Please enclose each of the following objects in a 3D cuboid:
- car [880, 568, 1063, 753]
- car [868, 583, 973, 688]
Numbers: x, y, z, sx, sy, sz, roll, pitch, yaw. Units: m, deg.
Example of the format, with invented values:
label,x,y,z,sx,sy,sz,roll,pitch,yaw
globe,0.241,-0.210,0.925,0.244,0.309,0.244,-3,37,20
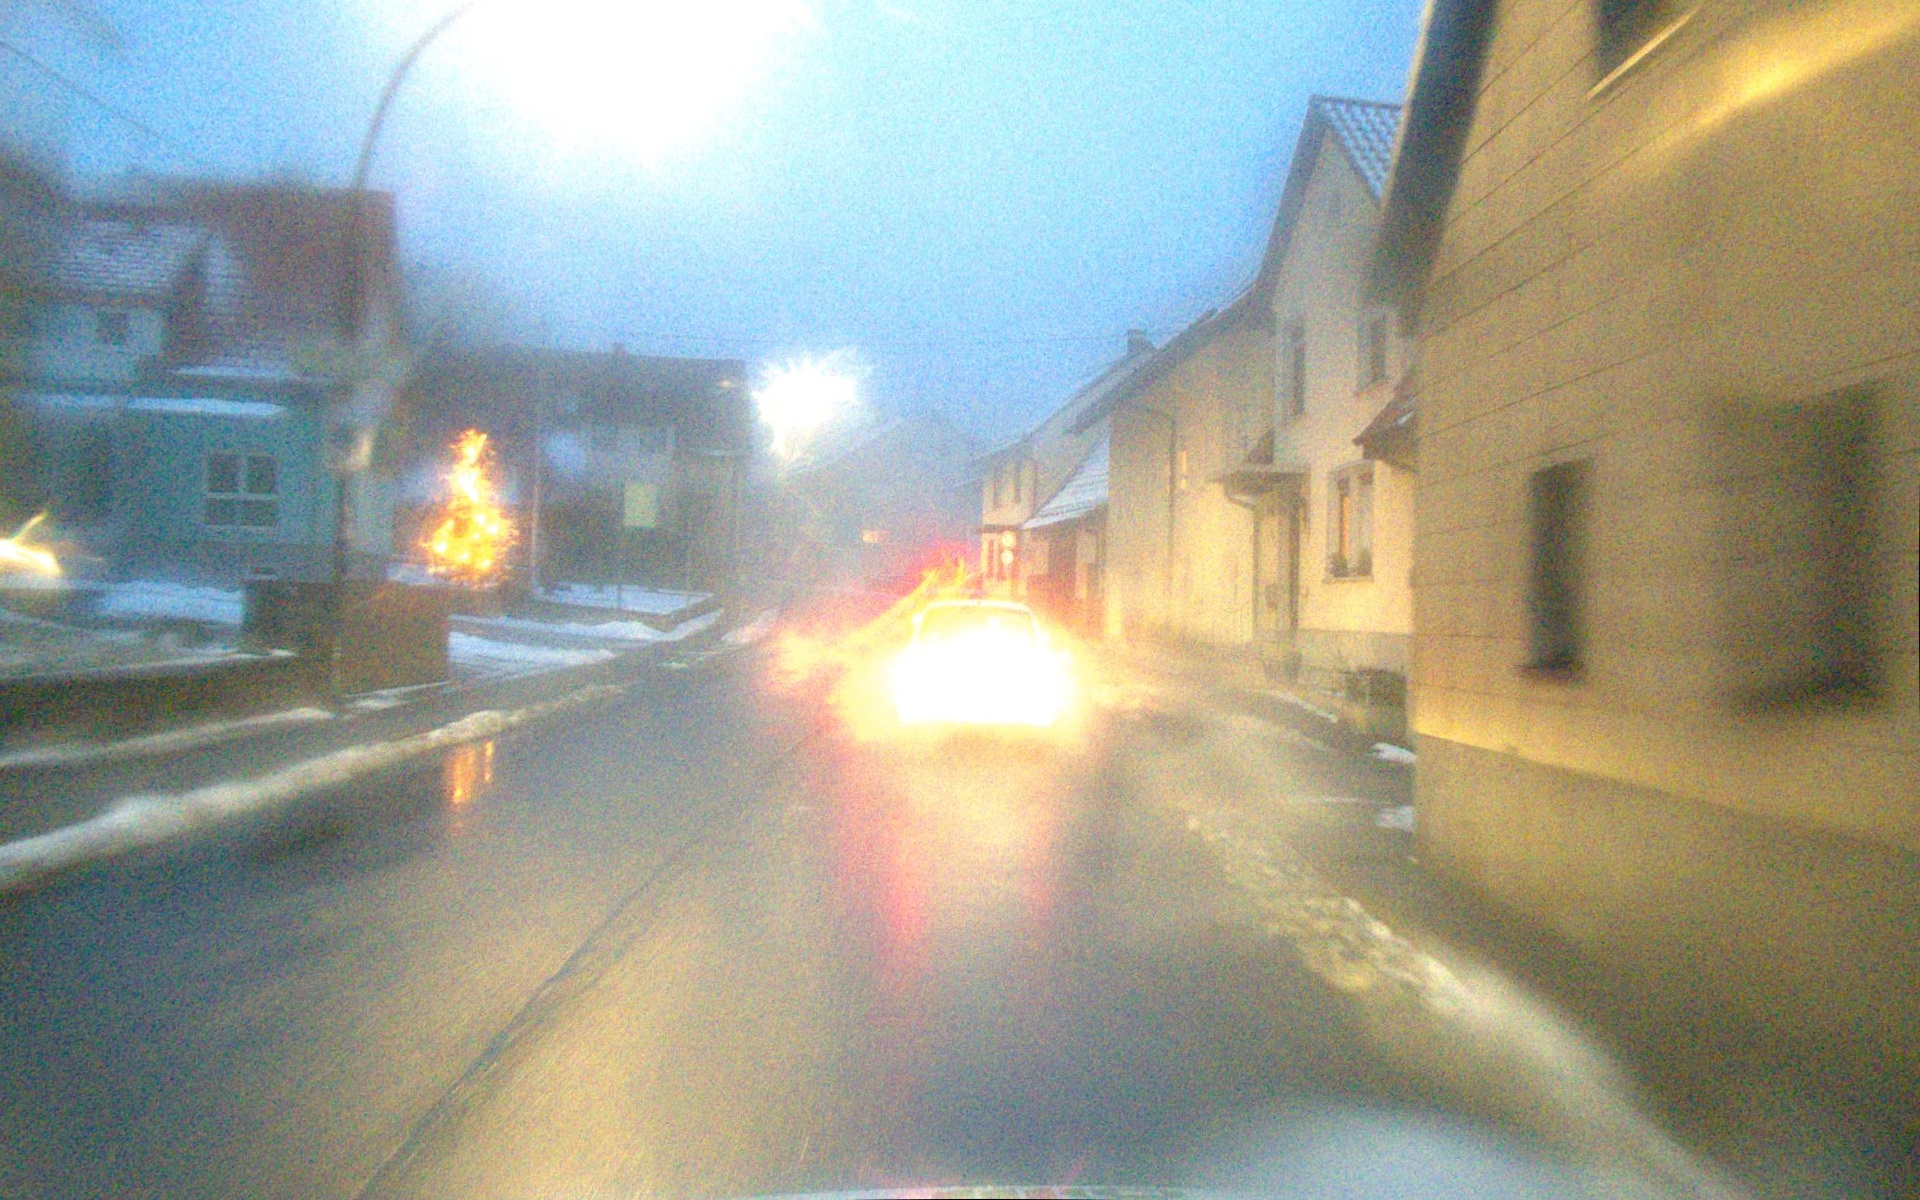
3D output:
label,x,y,z,sx,sy,sz,roll,pitch,yaw
car,0.072,0.571,17.047,1.612,1.624,3.698,3,-1,-1
car,-0.737,0.585,28.446,1.613,1.624,3.697,3,-1,-3
